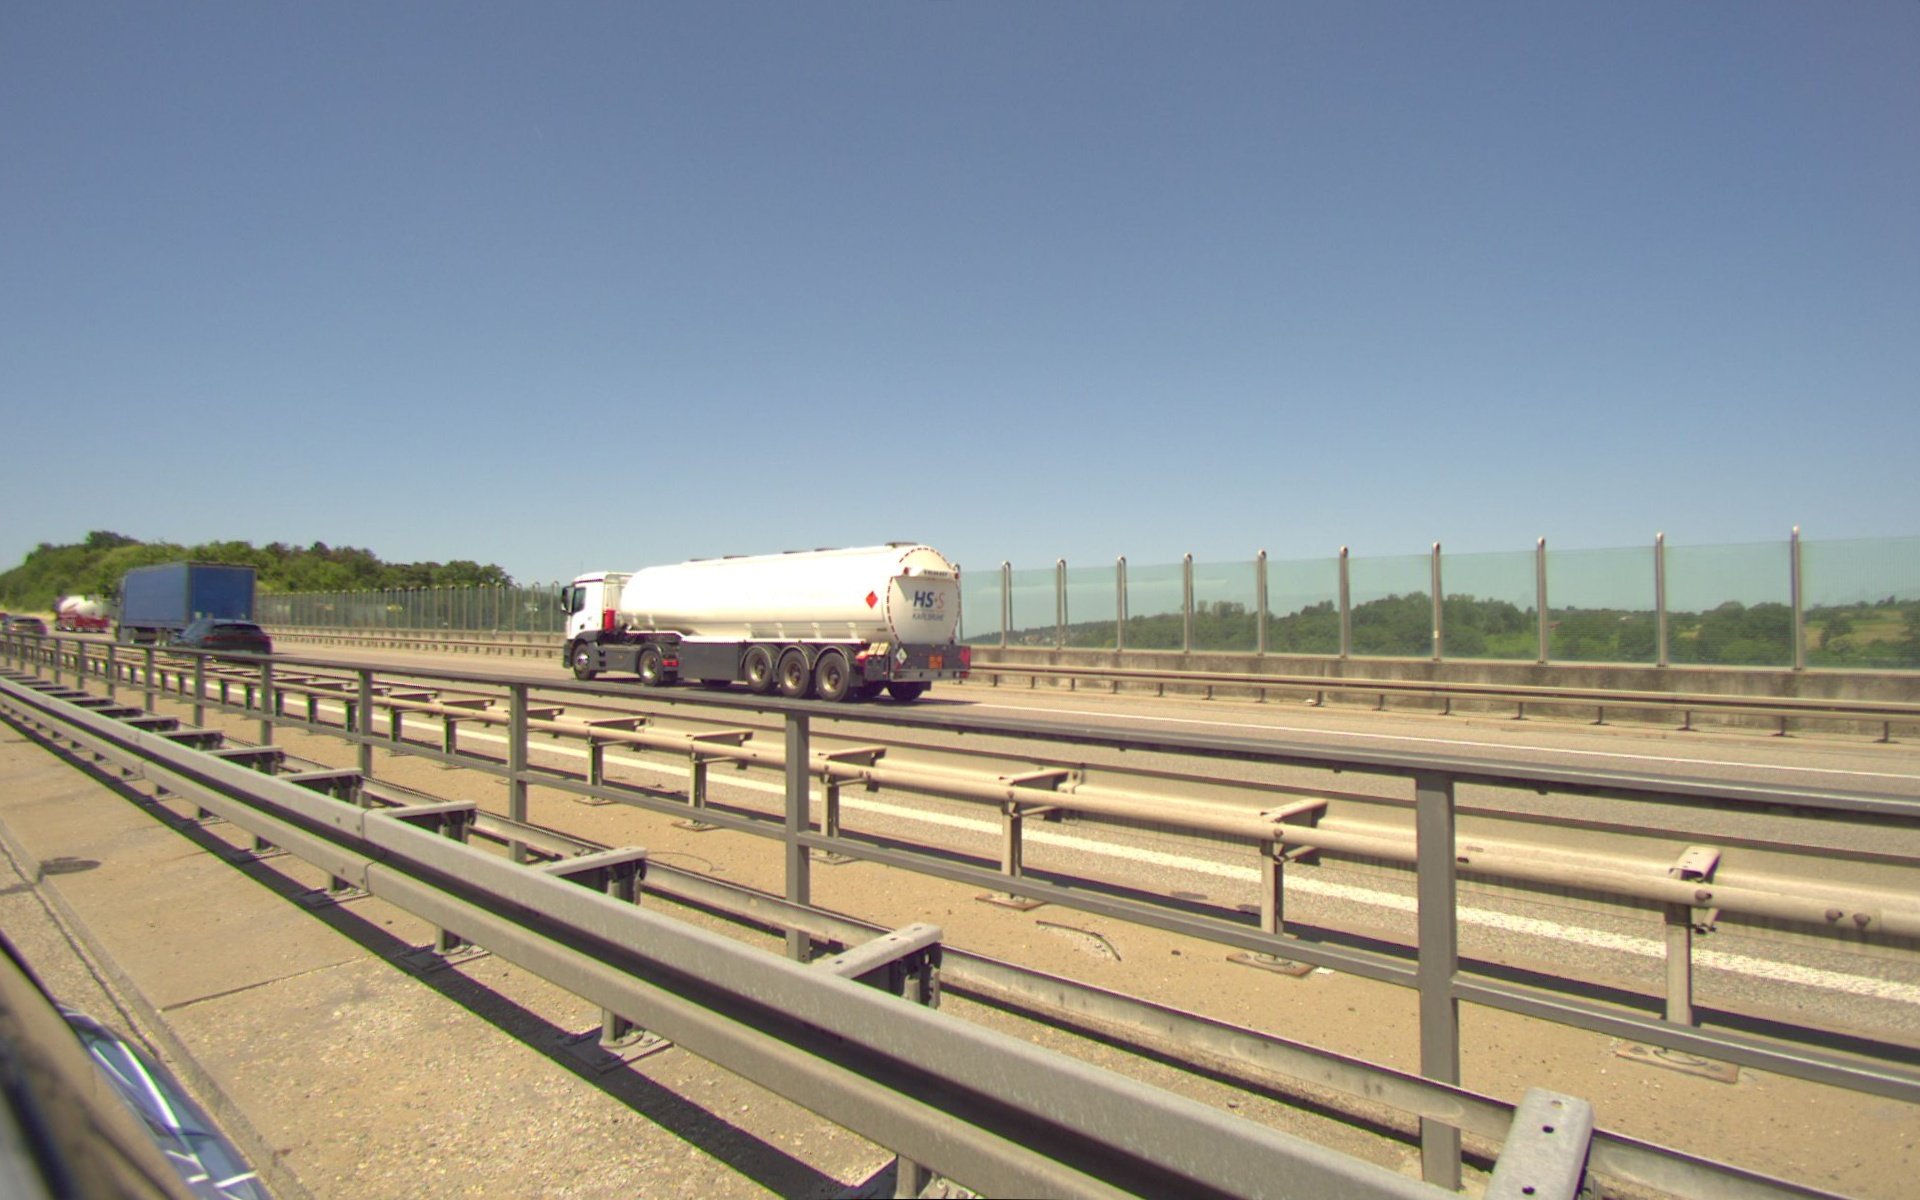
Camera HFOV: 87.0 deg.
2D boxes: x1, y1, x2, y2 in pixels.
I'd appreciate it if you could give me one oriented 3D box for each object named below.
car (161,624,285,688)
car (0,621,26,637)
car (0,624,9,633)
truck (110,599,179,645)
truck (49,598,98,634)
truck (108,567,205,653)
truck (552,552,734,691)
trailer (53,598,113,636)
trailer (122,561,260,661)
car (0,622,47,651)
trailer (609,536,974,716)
[{"bbox_3d":[-20.700,1.500,28.361,4.186,1.563,1.863,0,0,40],"label":"car"},{"bbox_3d":[-90.209,2.736,96.128,3.850,1.510,1.779,0,-2,41],"label":"car"},{"bbox_3d":[-154.511,4.522,162.880,3.999,1.431,1.763,0,-4,42],"label":"car"},{"bbox_3d":[-60.968,1.647,75.567,8.291,3.213,2.535,0,-4,42],"label":"truck"},{"bbox_3d":[-88.509,1.606,100.994,6.294,3.441,2.877,0,-3,43],"label":"truck"},{"bbox_3d":[-41.353,0.550,52.019,6.262,4.148,2.724,0,-2,41],"label":"truck"},{"bbox_3d":[-9.050,0.601,28.690,5.329,3.562,2.493,0,-2,42],"label":"truck"},{"bbox_3d":[-84.060,1.588,96.935,12.006,3.405,2.845,0,-3,43],"label":"trailer"},{"bbox_3d":[-36.482,0.547,47.763,12.043,4.197,2.676,0,-2,41],"label":"trailer"},{"bbox_3d":[-55.906,2.153,60.194,4.186,1.563,1.863,0,0,40],"label":"car"},{"bbox_3d":[-4.583,0.582,24.653,10.900,3.567,2.472,0,-2,42],"label":"trailer"}]
